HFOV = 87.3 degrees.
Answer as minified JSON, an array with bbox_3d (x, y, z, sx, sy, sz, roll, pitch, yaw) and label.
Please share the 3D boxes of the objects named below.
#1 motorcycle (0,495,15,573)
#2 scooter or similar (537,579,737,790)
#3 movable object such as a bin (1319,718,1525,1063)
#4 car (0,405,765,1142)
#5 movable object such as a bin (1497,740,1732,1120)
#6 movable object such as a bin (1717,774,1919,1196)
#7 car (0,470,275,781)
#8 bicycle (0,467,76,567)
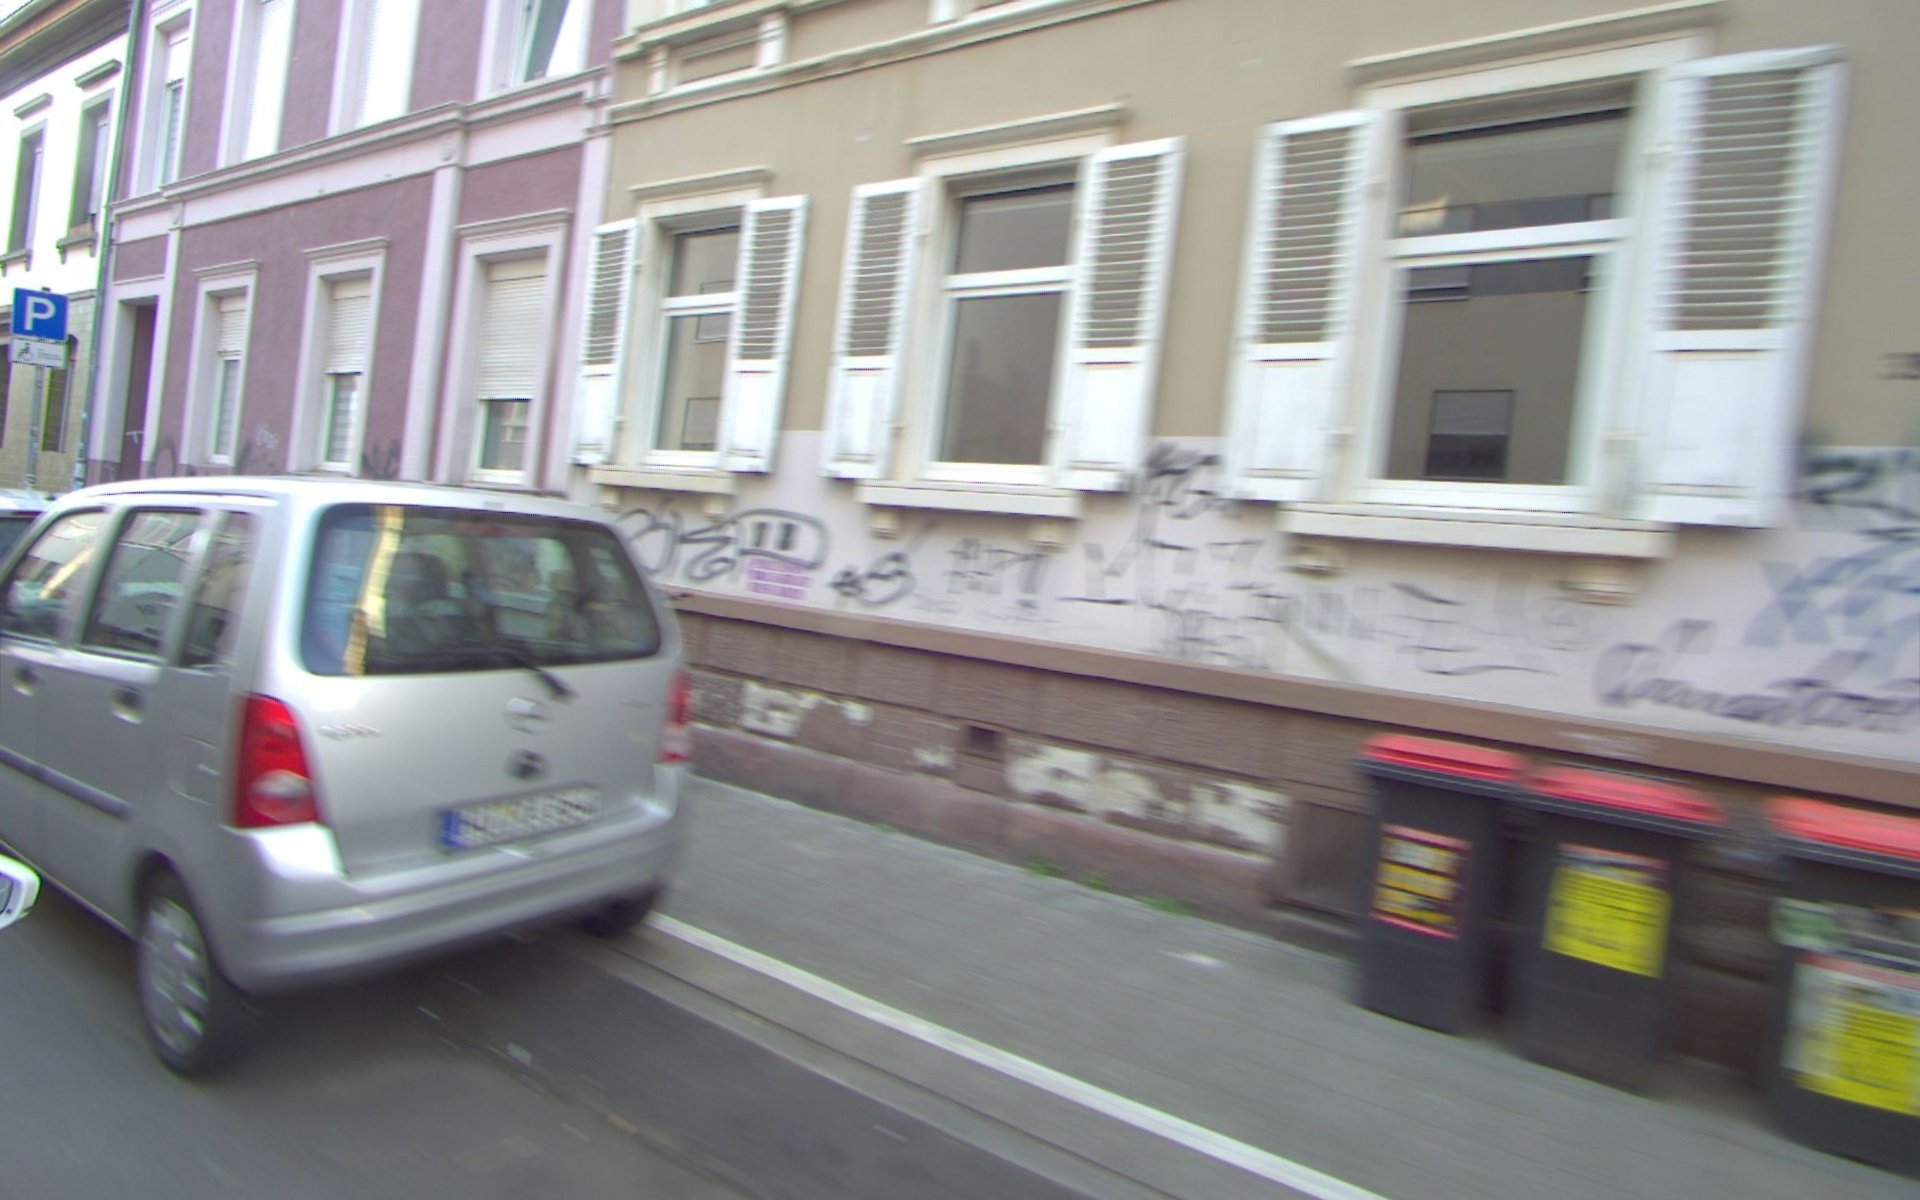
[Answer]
[{"bbox_3d":[-14.636,-1.038,14.845,1.747,1.110,0.558,6,3,32],"label":"motorcycle"},{"bbox_3d":[-2.183,0.520,6.734,1.346,1.199,0.450,7,4,32],"label":"scooter or similar"},{"bbox_3d":[1.853,1.079,4.002,0.550,1.102,0.752,7,2,31],"label":"movable object such as a bin"},{"bbox_3d":[-2.694,0.314,3.943,3.500,1.732,1.559,6,-1,32],"label":"car"},{"bbox_3d":[2.372,1.134,3.697,0.550,1.102,0.694,7,2,31],"label":"movable object such as a bin"},{"bbox_3d":[2.968,1.207,3.277,0.622,1.102,0.694,7,2,31],"label":"movable object such as a bin"},{"bbox_3d":[-6.540,-0.059,6.536,4.552,1.564,1.697,6,1,32],"label":"car"},{"bbox_3d":[-12.478,-1.121,13.389,1.657,1.187,0.522,6,-1,32],"label":"bicycle"}]
